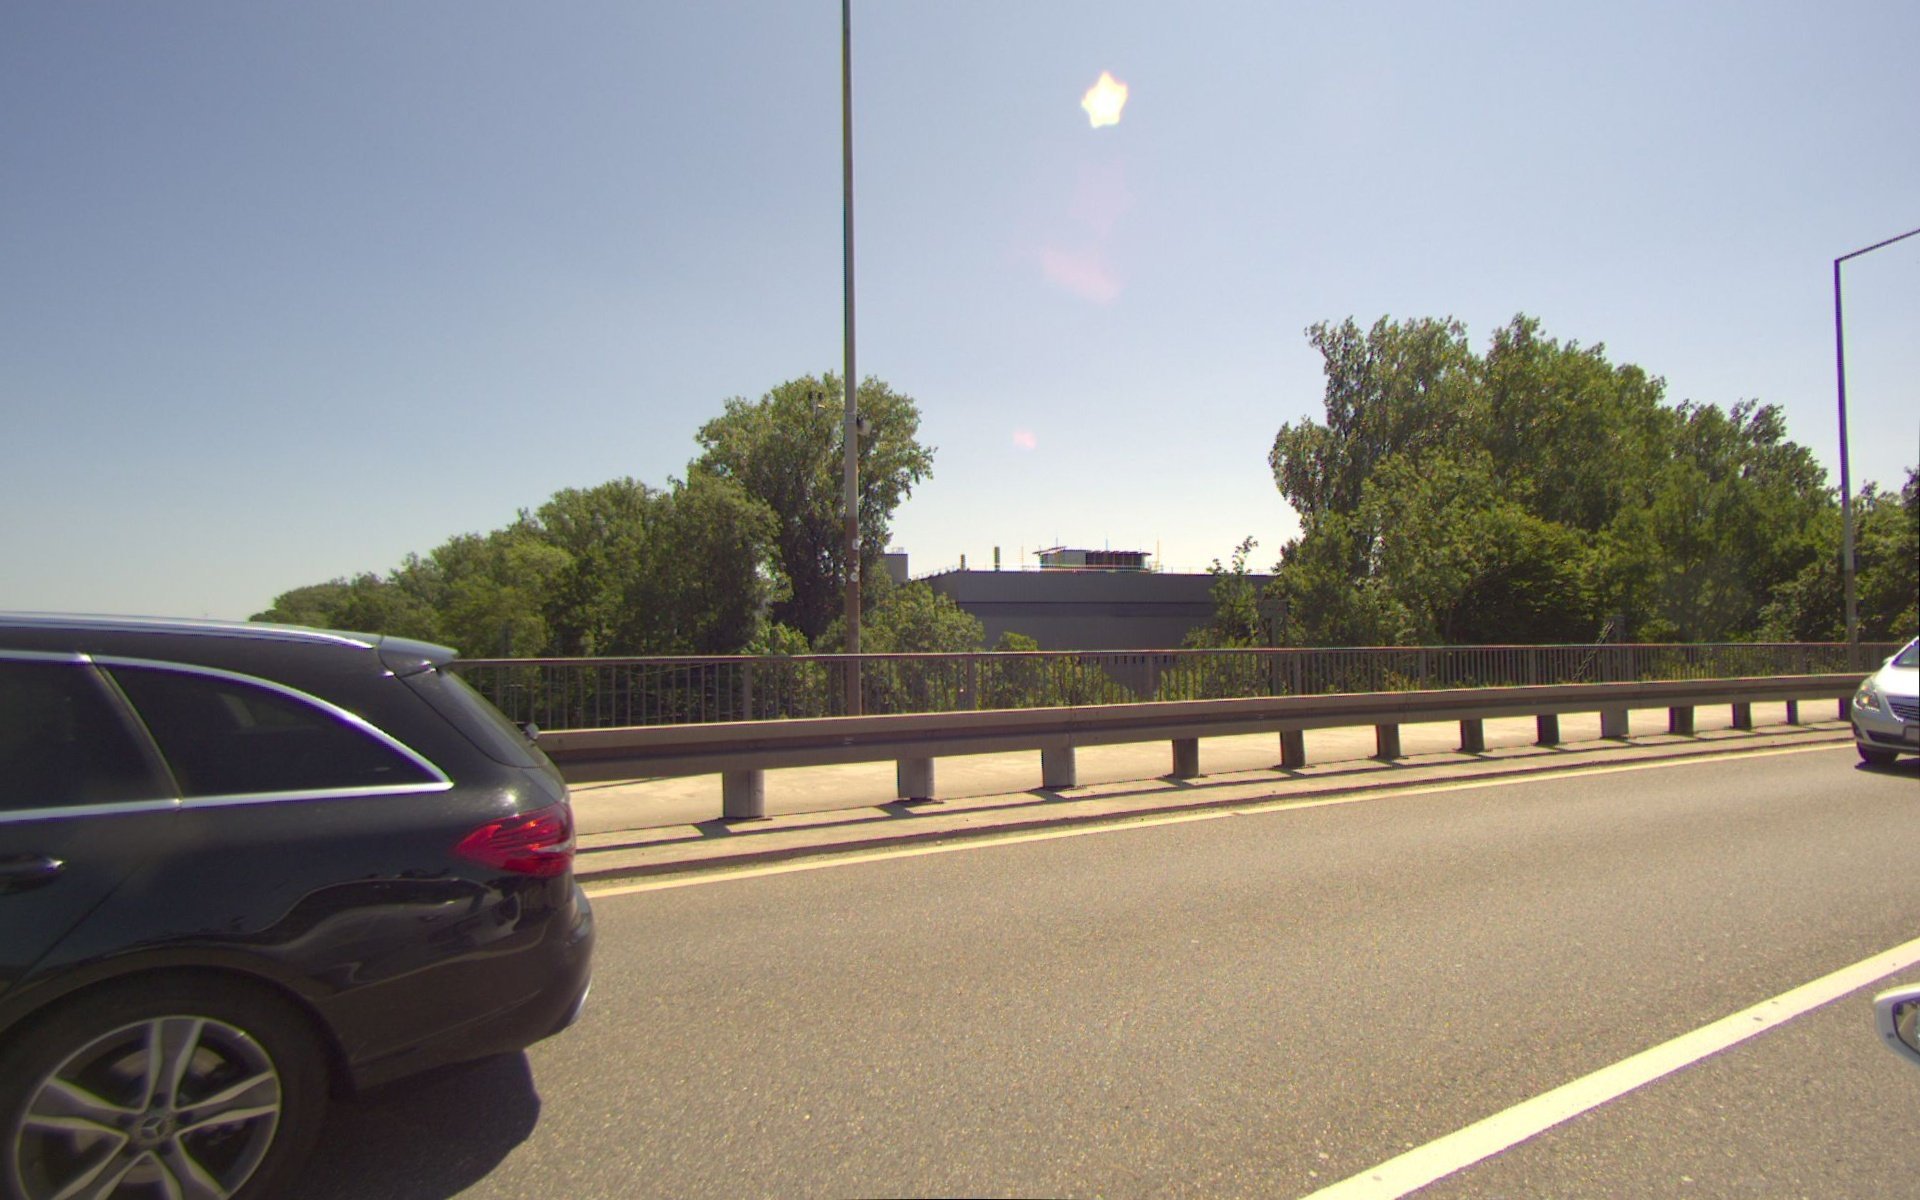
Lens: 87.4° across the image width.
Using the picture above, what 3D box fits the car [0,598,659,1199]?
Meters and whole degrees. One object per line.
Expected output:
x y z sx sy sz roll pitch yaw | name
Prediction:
-3.098 0.724 2.247 4.344 1.458 1.762 1 -1 -33 | car

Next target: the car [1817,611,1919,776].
11.200 0.933 10.570 4.118 1.601 1.732 1 -1 -24 | car
